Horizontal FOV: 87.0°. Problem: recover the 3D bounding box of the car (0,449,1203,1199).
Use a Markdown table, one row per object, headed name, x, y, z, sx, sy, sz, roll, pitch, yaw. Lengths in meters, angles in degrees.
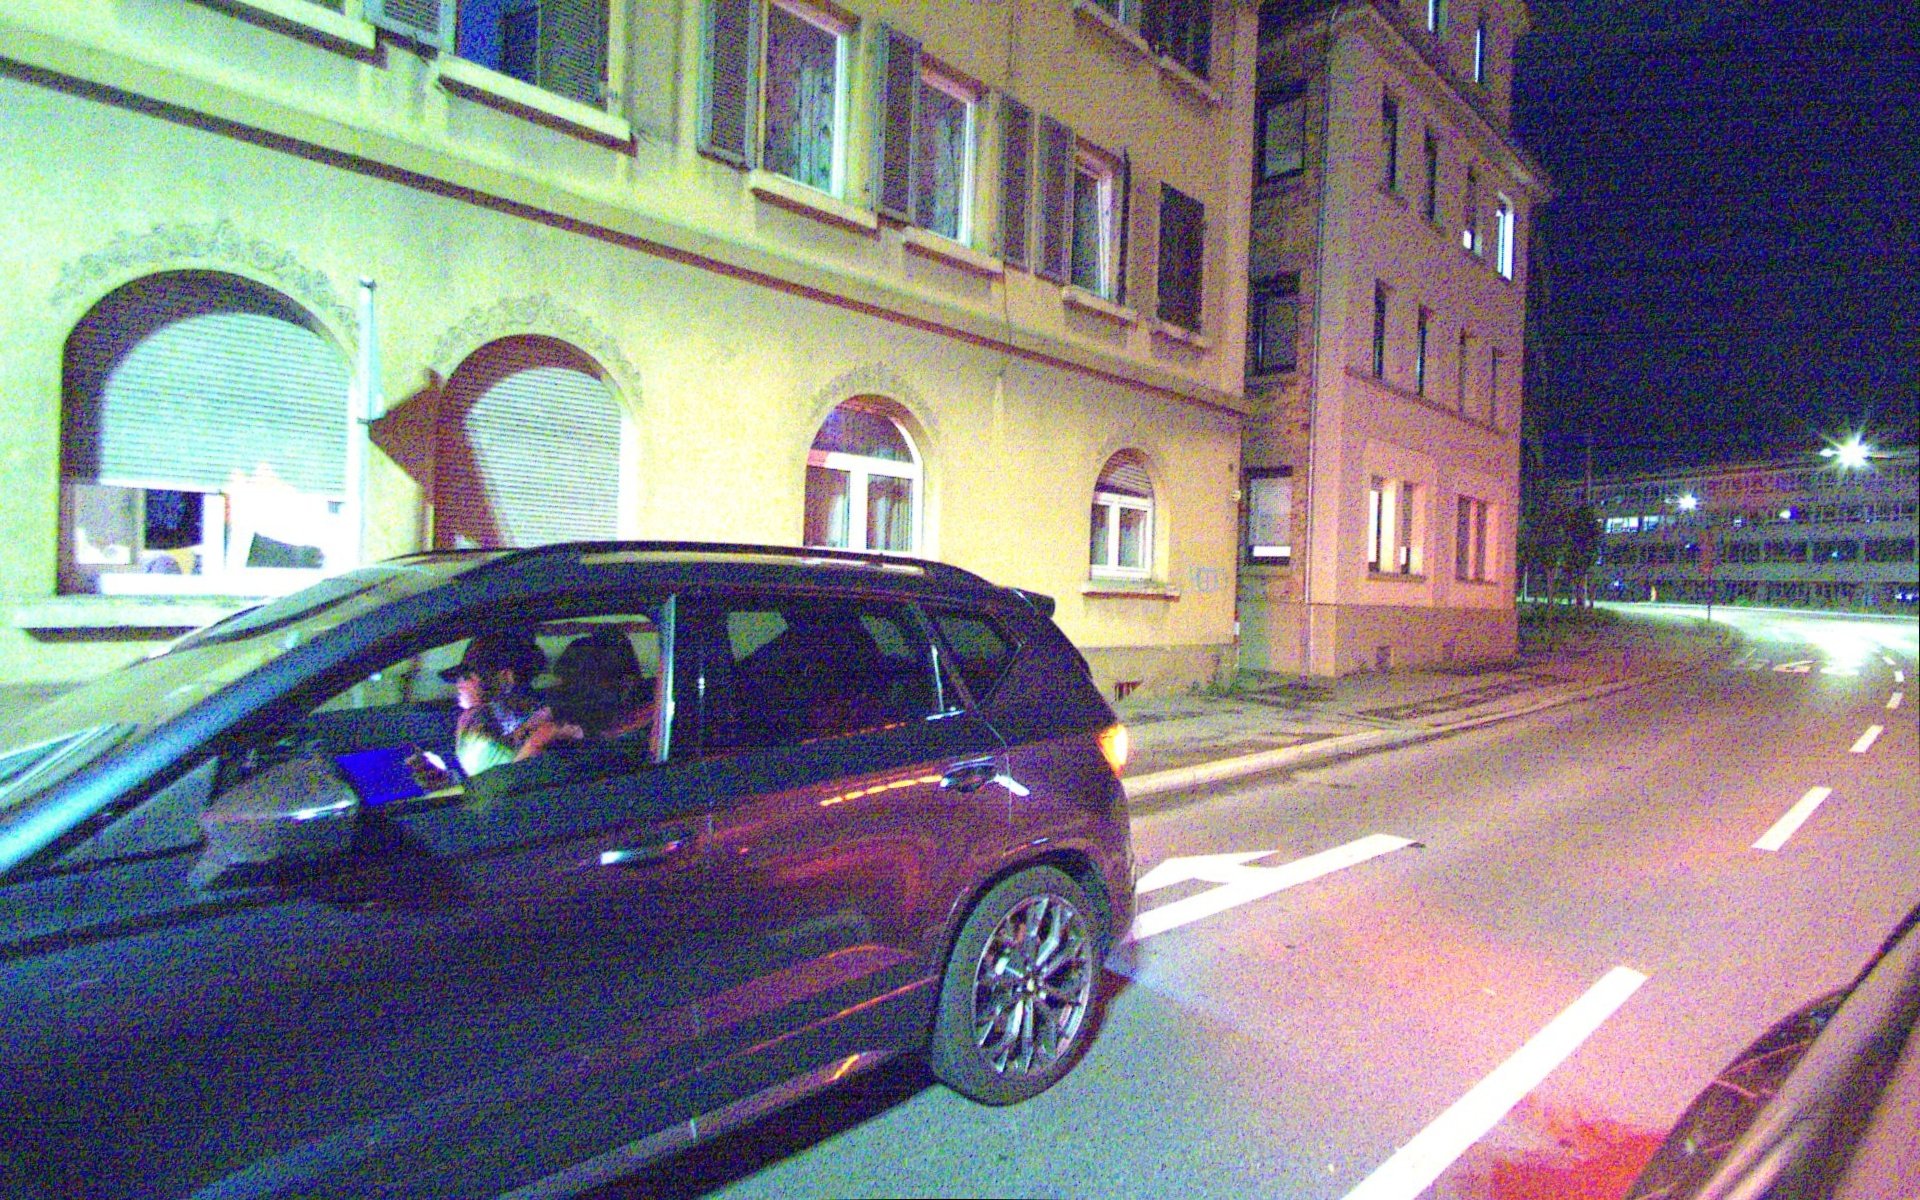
| name | x | y | z | sx | sy | sz | roll | pitch | yaw |
| --- | --- | --- | --- | --- | --- | --- | --- | --- | --- |
| car | -1.218 | 0.570 | 2.697 | 4.160 | 1.630 | 1.671 | -2 | 2 | -44 |
